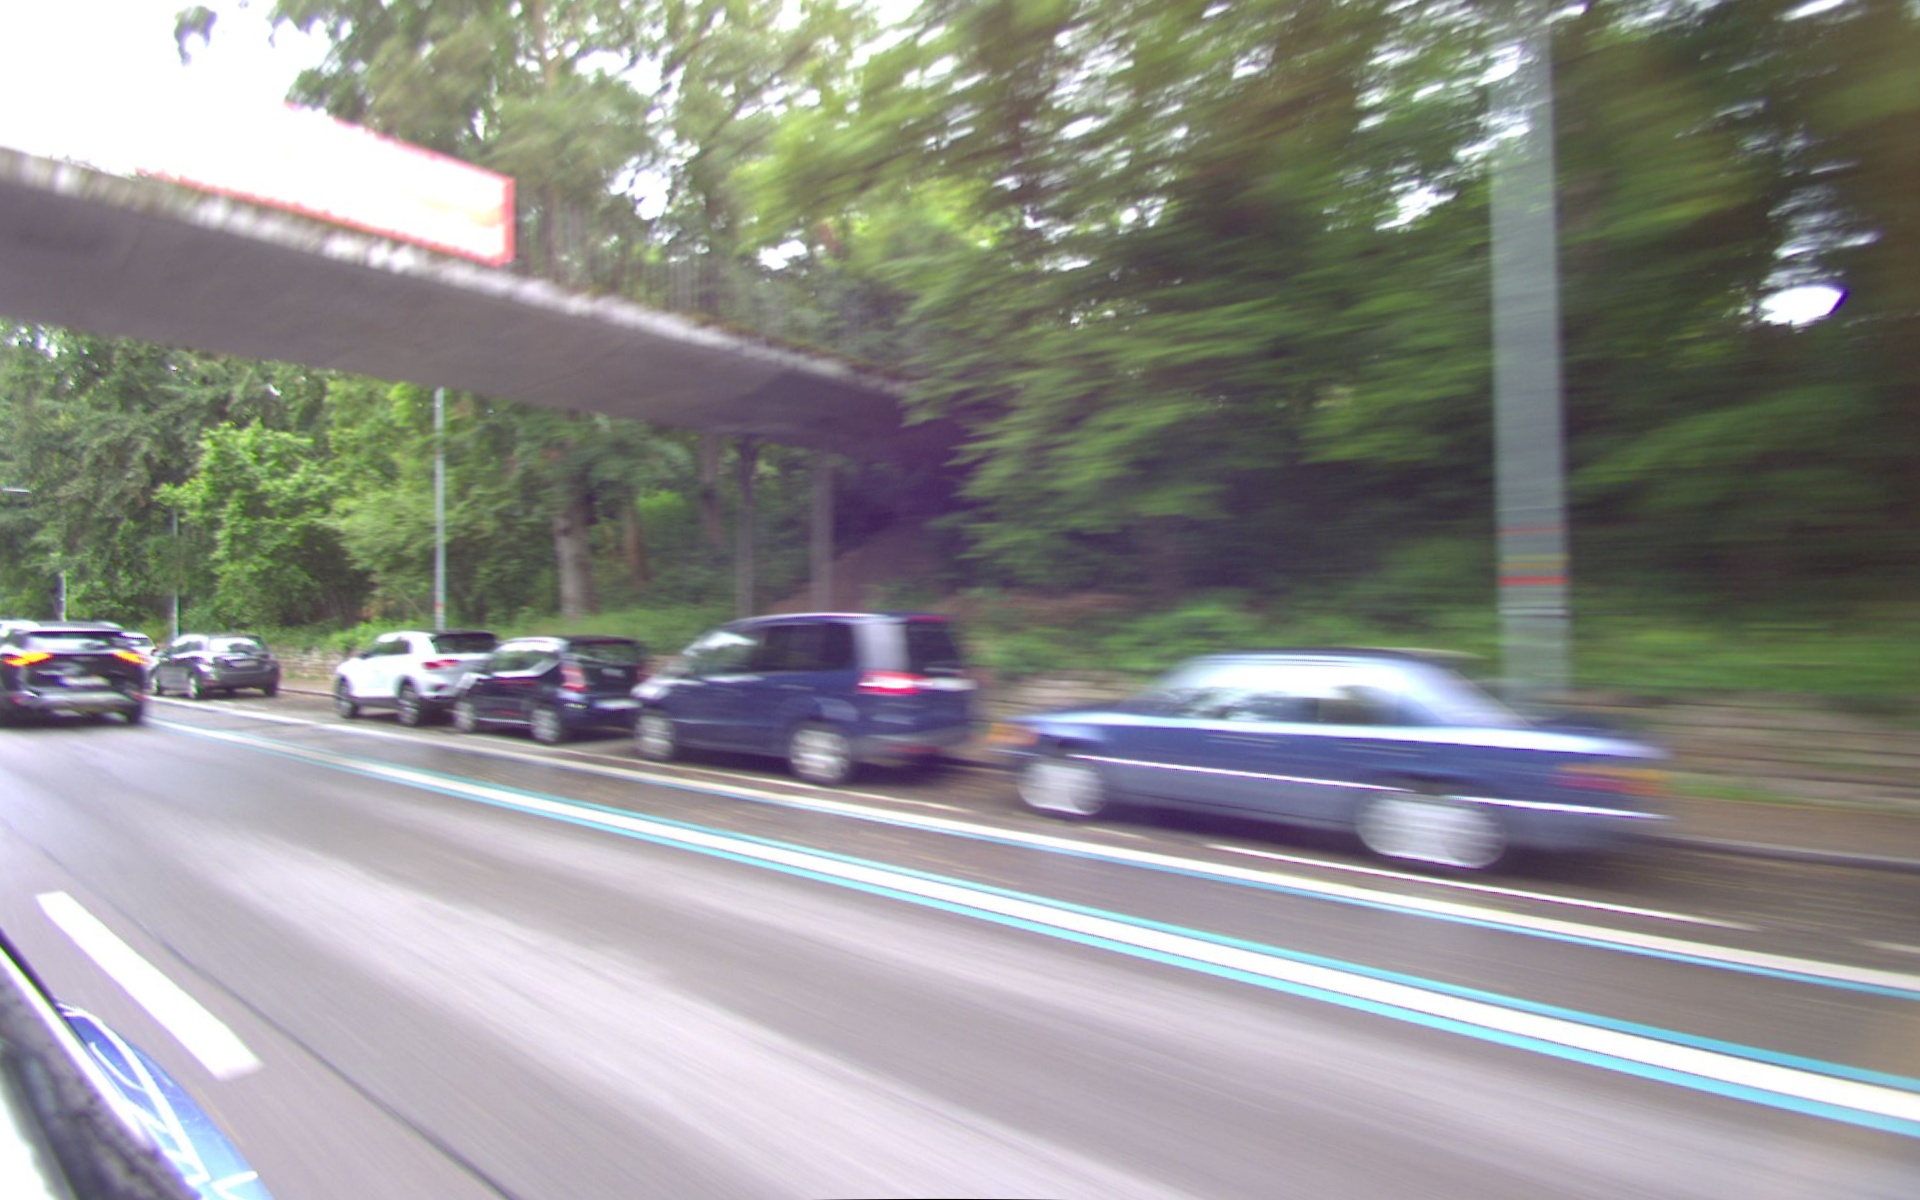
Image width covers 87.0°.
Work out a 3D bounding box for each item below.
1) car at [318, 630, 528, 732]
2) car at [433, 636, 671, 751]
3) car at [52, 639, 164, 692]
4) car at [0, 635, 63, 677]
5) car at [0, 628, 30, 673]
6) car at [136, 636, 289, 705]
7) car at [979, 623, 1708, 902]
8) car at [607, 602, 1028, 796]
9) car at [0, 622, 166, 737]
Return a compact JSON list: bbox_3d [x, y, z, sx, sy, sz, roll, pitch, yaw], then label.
[{"bbox_3d":[-9.347,1.330,17.508,4.227,1.558,1.671,-3,-3,39],"label":"car"},{"bbox_3d":[-6.017,1.285,14.742,3.839,1.450,1.593,-3,-3,39],"label":"car"},{"bbox_3d":[-25.916,1.967,30.740,3.976,1.493,1.772,-2,-3,37],"label":"car"},{"bbox_3d":[-38.663,2.299,41.513,4.773,1.618,1.990,-3,-3,39],"label":"car"},{"bbox_3d":[-45.552,2.365,47.384,5.006,2.020,1.957,-2,-2,35],"label":"car"},{"bbox_3d":[-17.766,1.631,24.004,4.033,1.488,1.814,-2,-3,36],"label":"car"},{"bbox_3d":[2.684,0.983,7.819,4.891,1.484,1.964,-3,-2,39],"label":"car"},{"bbox_3d":[-1.775,0.997,11.476,4.832,1.755,1.971,-3,-3,39],"label":"car"},{"bbox_3d":[-14.831,1.222,16.510,4.314,1.640,1.947,-2,-3,38],"label":"car"}]
